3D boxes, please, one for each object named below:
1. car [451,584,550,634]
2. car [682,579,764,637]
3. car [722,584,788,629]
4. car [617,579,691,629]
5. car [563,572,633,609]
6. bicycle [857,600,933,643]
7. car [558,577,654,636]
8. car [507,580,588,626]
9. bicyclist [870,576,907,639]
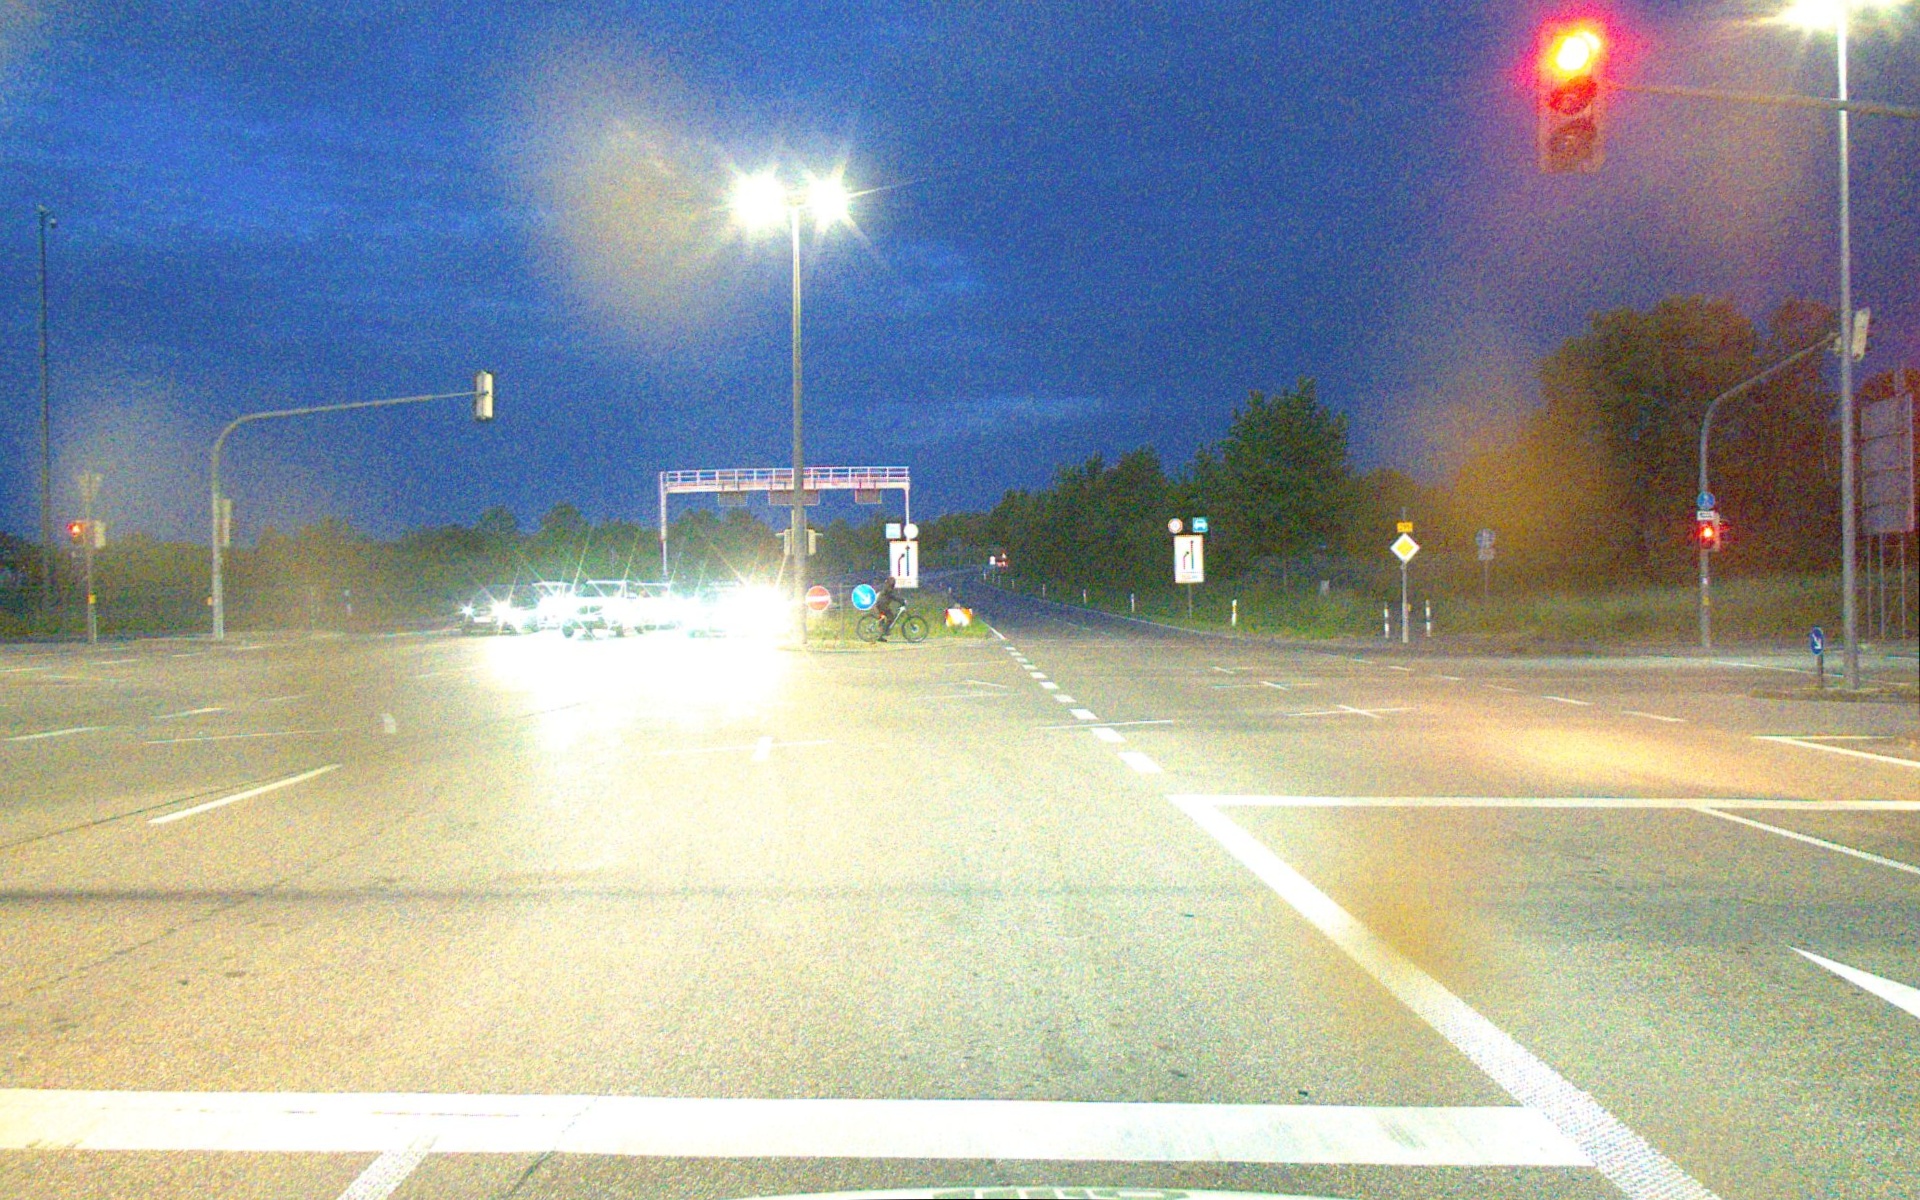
[{"bbox_3d":[-14.226,0.247,51.462,1.743,1.471,4.292,1,1,2],"label":"car"},{"bbox_3d":[-7.197,0.203,50.592,1.814,1.661,4.586,0,1,0],"label":"car"},{"bbox_3d":[-7.214,0.203,58.543,1.736,1.507,3.911,1,1,1],"label":"car"},{"bbox_3d":[-10.635,0.111,57.808,1.709,1.655,4.363,0,1,1],"label":"car"},{"bbox_3d":[-14.283,-0.396,65.498,1.794,1.414,4.397,-1,1,0],"label":"car"},{"bbox_3d":[-1.748,0.576,44.530,2.021,1.120,0.694,0,0,-6],"label":"bicycle"},{"bbox_3d":[-10.724,0.163,50.385,1.869,1.711,4.421,1,1,1],"label":"car"},{"bbox_3d":[-14.371,0.075,57.762,1.794,1.551,4.000,-1,1,0],"label":"car"},{"bbox_3d":[-1.930,0.197,44.524,0.977,1.680,0.603,0,0,-6],"label":"bicyclist"}]
